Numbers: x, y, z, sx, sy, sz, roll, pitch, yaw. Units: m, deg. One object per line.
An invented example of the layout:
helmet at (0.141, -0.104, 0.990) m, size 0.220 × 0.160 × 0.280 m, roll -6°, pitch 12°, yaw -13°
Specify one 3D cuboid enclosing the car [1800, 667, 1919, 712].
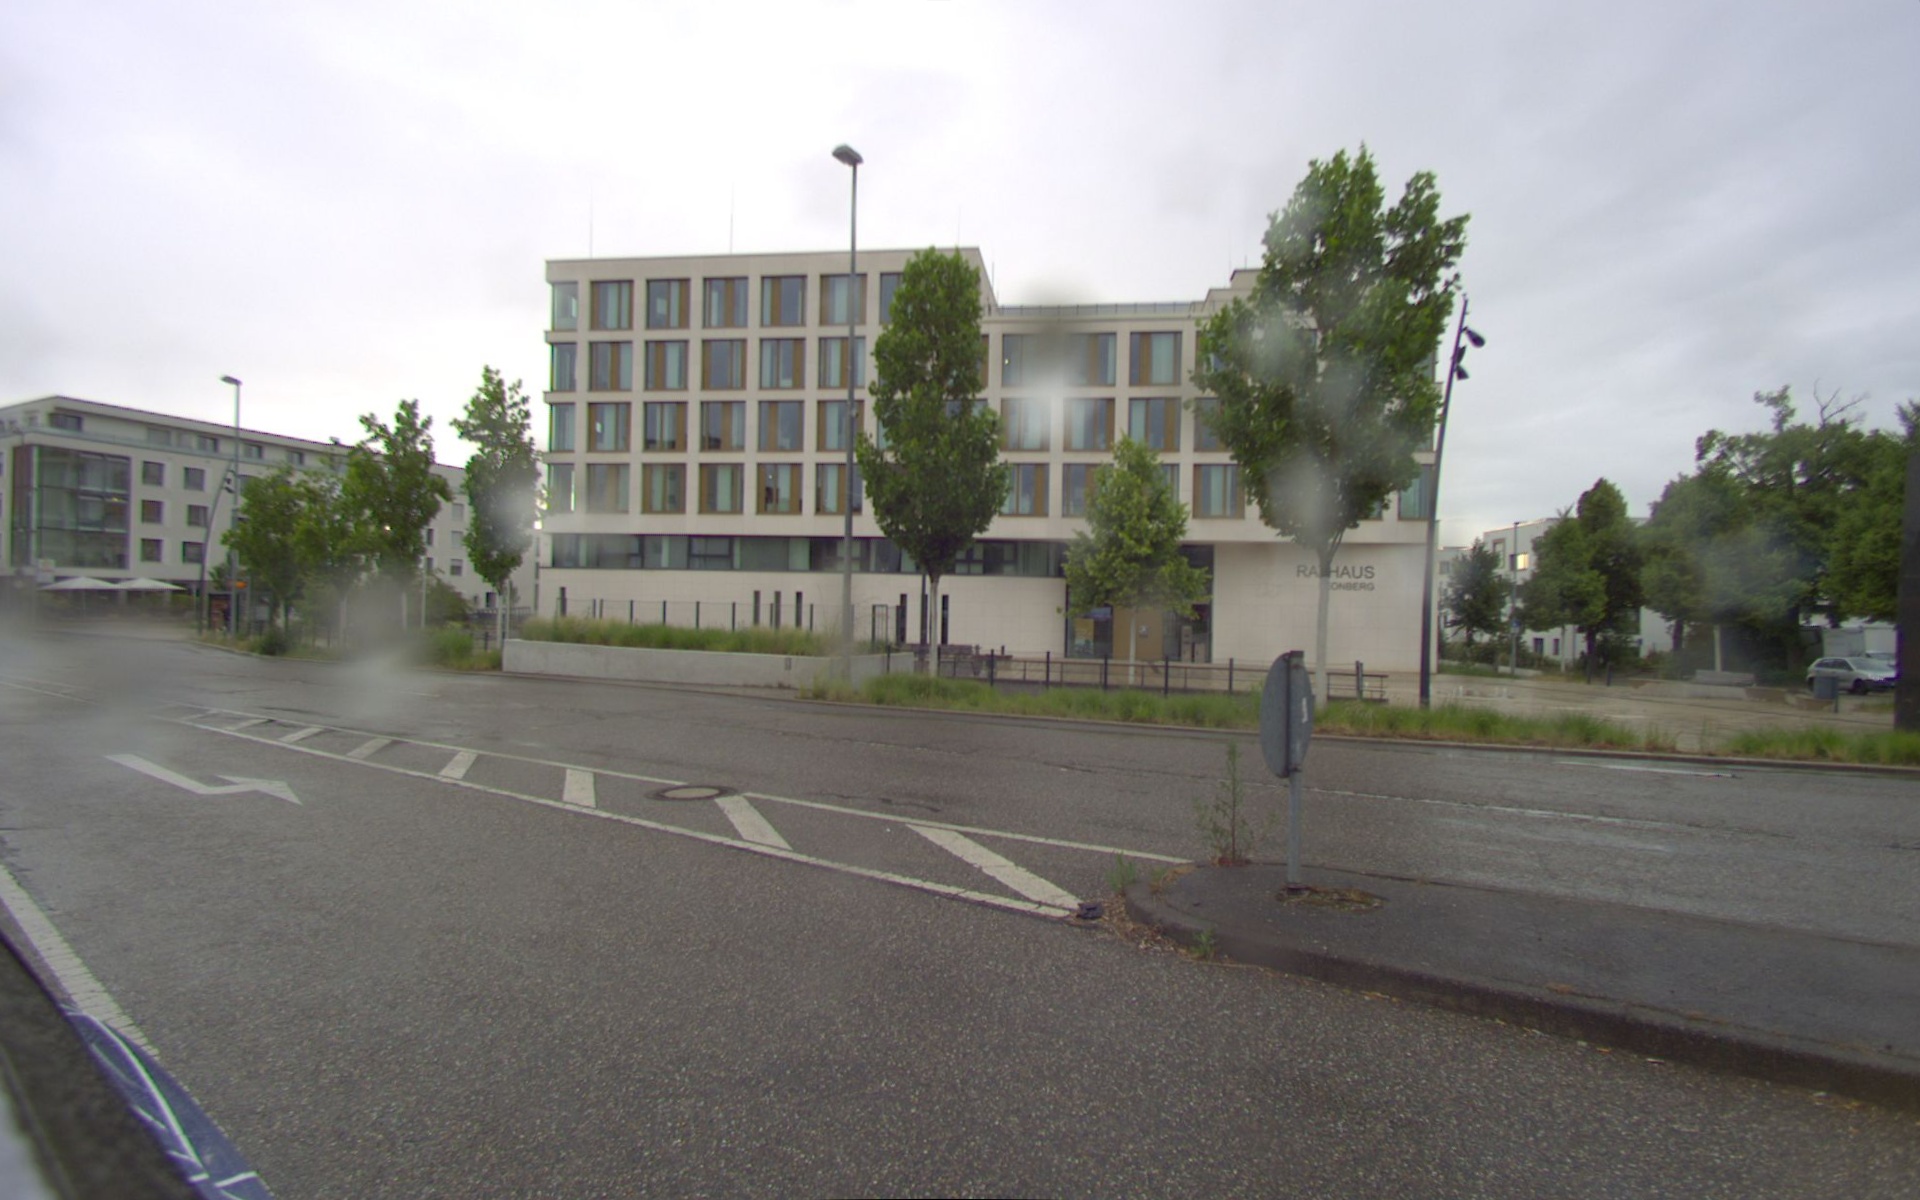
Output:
car at (34.653, 3.393, 38.808) m, size 1.564 × 1.478 × 3.998 m, roll 0°, pitch -2°, yaw 1°
